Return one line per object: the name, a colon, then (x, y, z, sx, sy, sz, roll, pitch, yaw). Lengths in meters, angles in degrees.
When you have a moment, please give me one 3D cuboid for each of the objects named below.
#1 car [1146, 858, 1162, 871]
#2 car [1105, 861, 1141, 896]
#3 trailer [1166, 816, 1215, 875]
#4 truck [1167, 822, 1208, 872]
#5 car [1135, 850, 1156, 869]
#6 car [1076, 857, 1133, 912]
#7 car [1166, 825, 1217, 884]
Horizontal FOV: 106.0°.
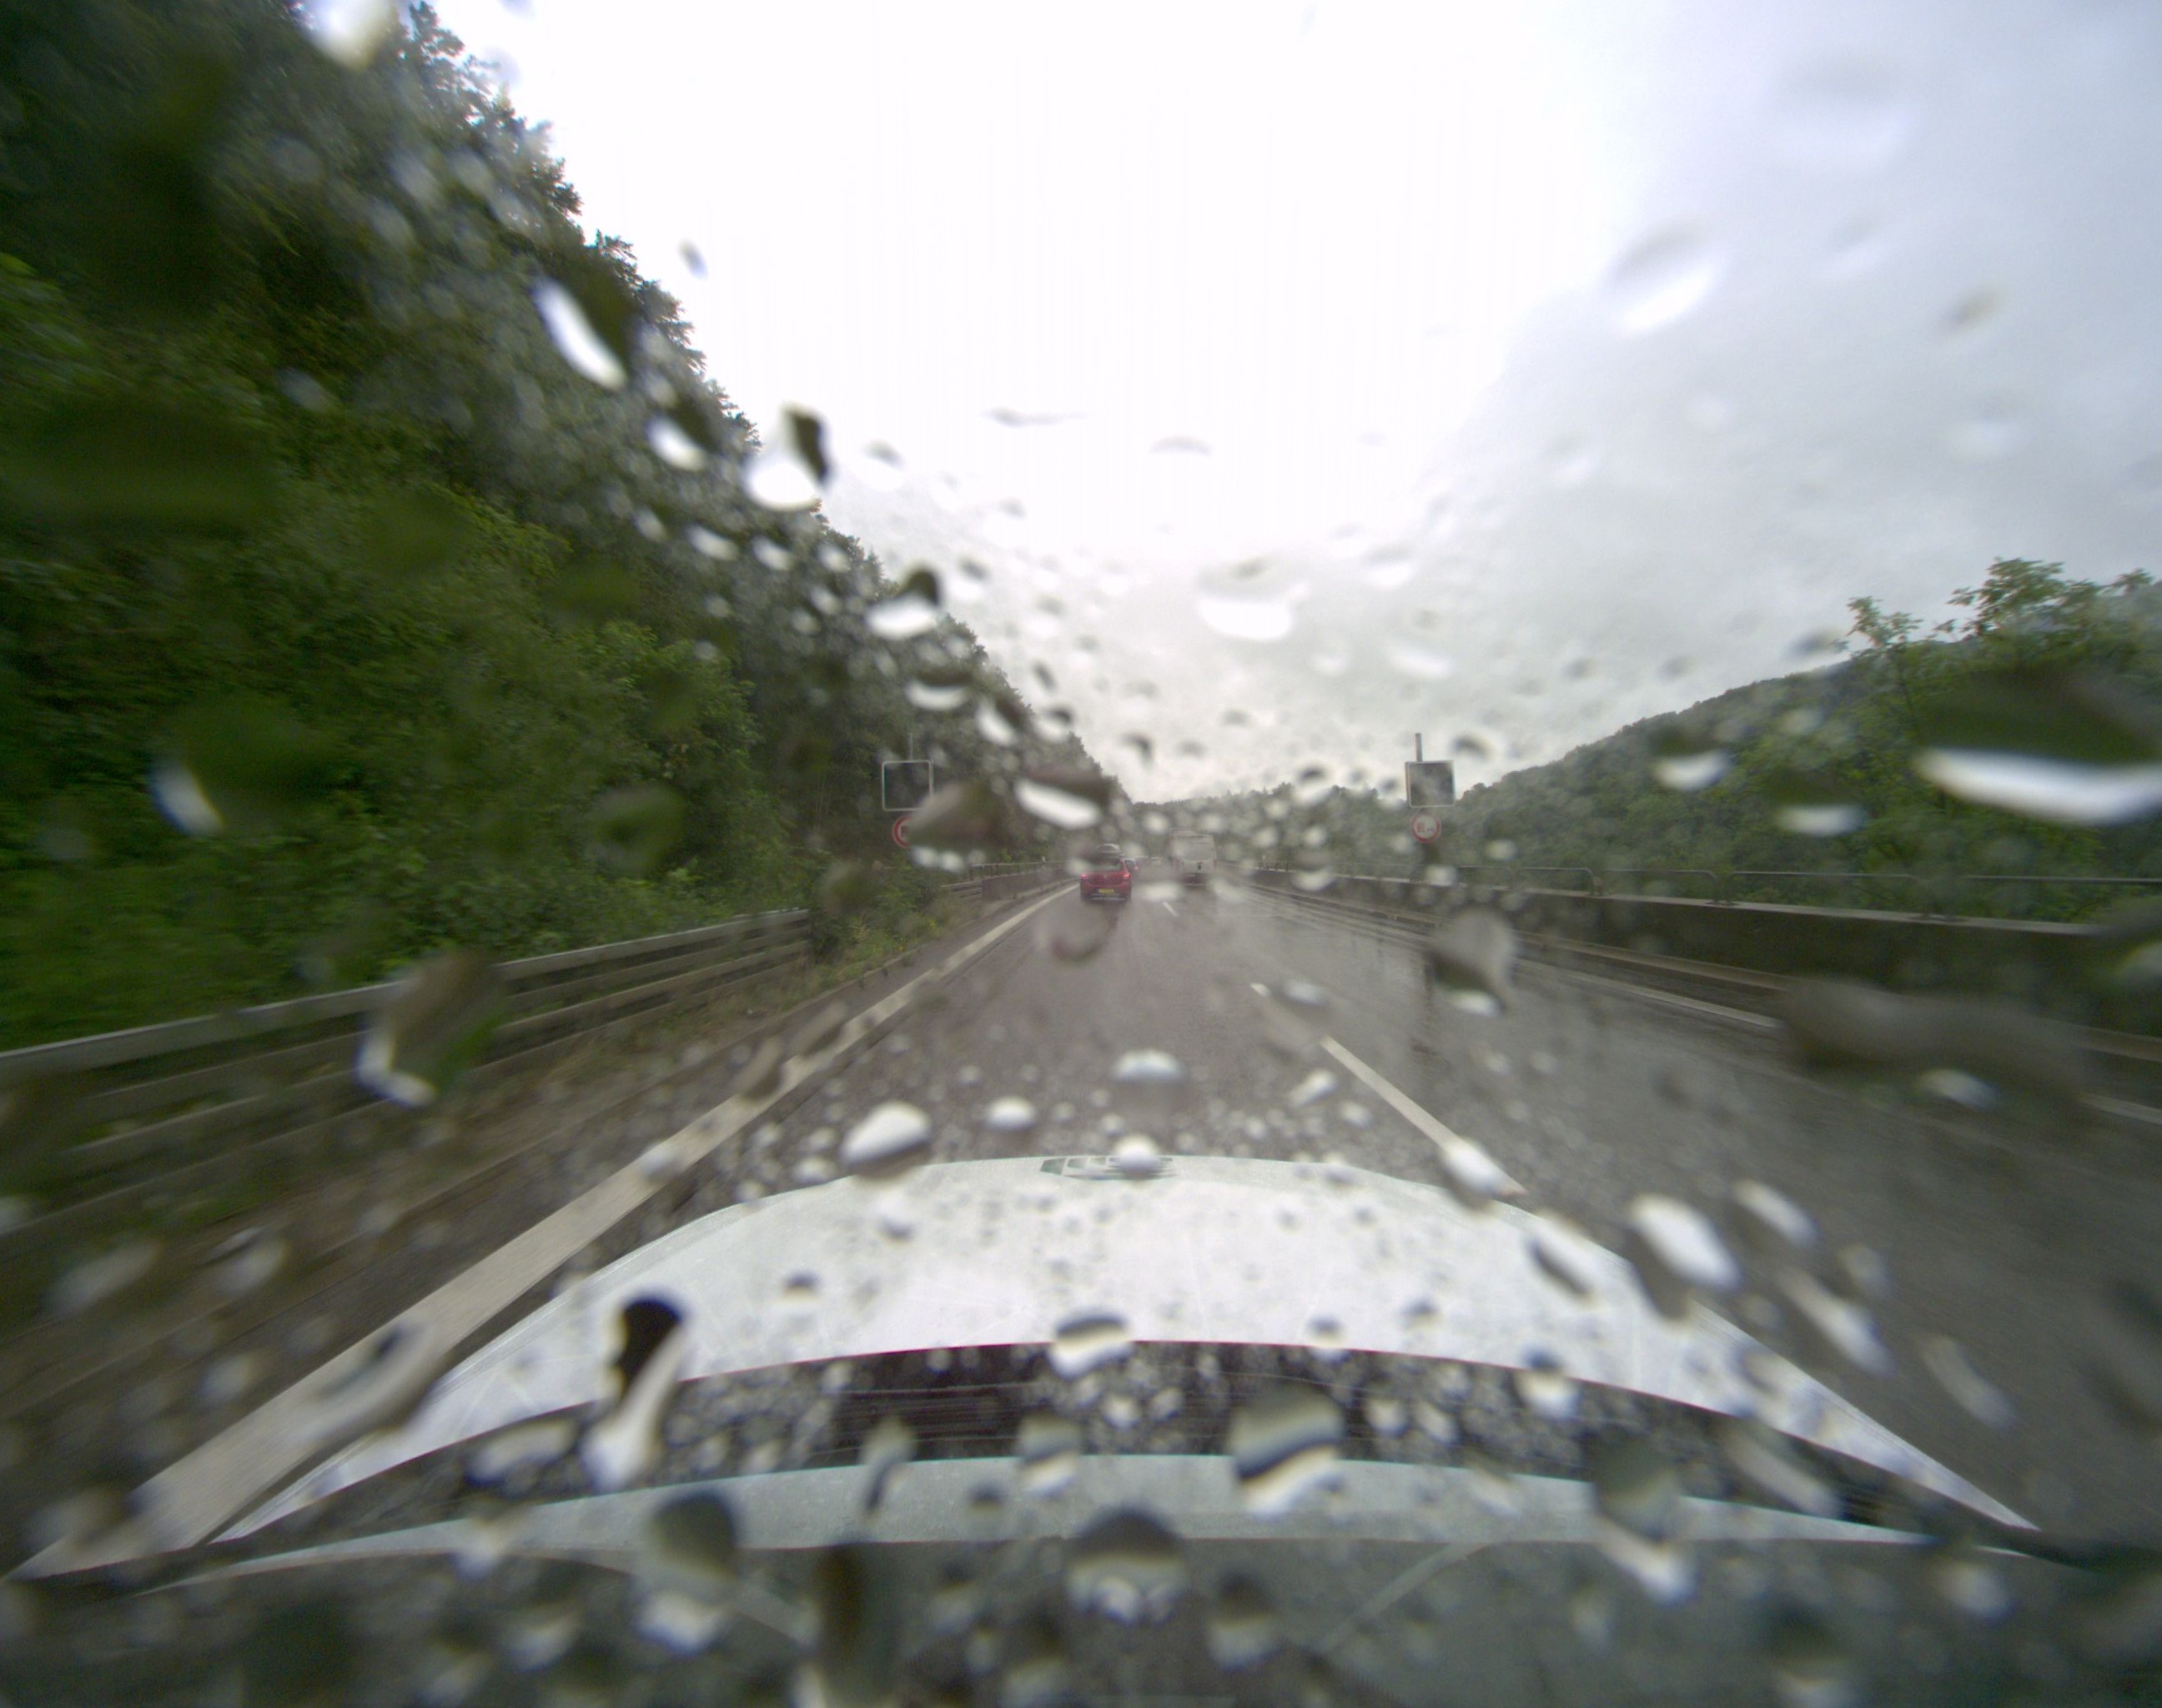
car: (10.222, 1.491, 113.719, 1.982, 1.639, 4.009, -4, -1, 8)
car: (2.320, 1.315, 44.930, 1.825, 1.715, 3.648, -4, -1, 3)
trailer: (8.366, -0.589, 63.311, 3.202, 3.999, 13.547, -2, 0, 6)
truck: (9.127, -0.565, 70.014, 3.203, 3.978, 5.448, -2, -1, 6)
car: (6.554, 0.573, 81.829, 1.865, 1.706, 3.895, -4, -1, 6)
car: (0.793, 1.011, 28.472, 1.752, 1.684, 4.000, -4, -1, 1)
car: (5.589, 0.044, 42.113, 2.196, 2.794, 7.392, -1, 0, 5)
